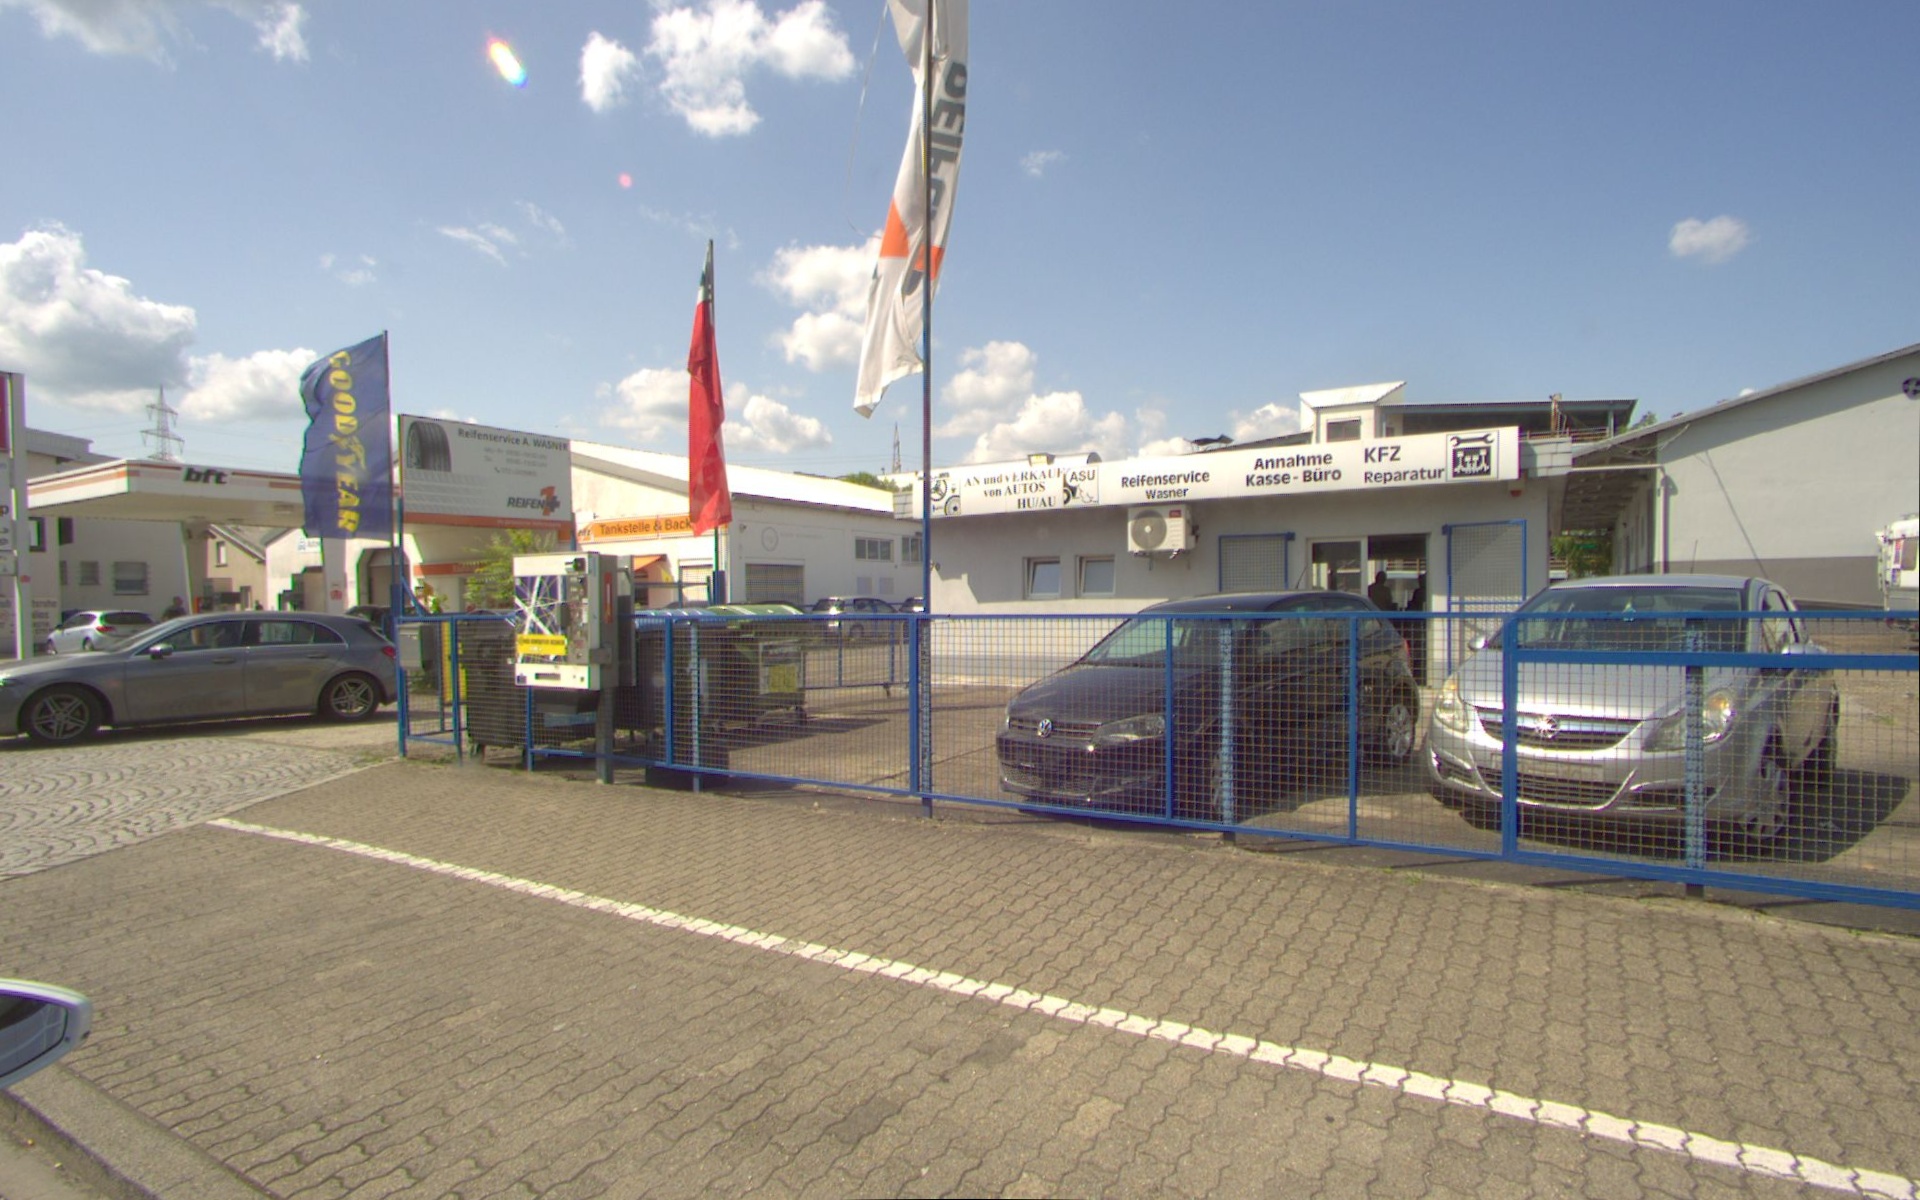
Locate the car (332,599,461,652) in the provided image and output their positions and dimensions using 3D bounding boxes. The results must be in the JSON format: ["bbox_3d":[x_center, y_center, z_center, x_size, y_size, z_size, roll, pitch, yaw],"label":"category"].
[{"bbox_3d":[-17.306,0.745,30.724,3.777,1.523,1.803,0,0,31],"label":"car"}]

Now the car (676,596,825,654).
[{"bbox_3d":[-5.715,0.640,27.820,1.564,1.482,4.187,0,0,33],"label":"car"}]

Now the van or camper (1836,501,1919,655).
[{"bbox_3d":[21.018,-0.455,19.529,5.571,3.005,2.264,0,1,31],"label":"van or camper"}]

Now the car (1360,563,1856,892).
[{"bbox_3d":[4.275,0.560,6.380,3.729,1.472,1.757,-1,0,-42],"label":"car"}]

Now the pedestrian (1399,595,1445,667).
[{"bbox_3d":[8.049,0.531,17.439,0.654,1.225,0.563,0,1,34],"label":"pedestrian"}]

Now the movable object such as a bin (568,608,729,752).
[{"bbox_3d":[-3.324,0.801,10.738,1.225,1.415,1.106,0,1,31],"label":"movable object such as a bin"}]

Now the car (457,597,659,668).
[{"bbox_3d":[-9.162,0.687,23.164,1.564,1.482,4.187,0,0,33],"label":"car"}]

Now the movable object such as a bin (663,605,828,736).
[{"bbox_3d":[-2.530,0.781,11.903,1.318,1.414,1.400,0,1,31],"label":"movable object such as a bin"}]

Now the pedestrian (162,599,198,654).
[{"bbox_3d":[-23.773,0.798,30.517,0.698,1.679,0.546,-1,1,-22],"label":"pedestrian"}]

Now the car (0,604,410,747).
[{"bbox_3d":[-9.279,0.796,12.185,1.657,1.434,4.246,0,0,44],"label":"car"}]

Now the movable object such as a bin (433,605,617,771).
[{"bbox_3d":[-4.156,0.785,9.608,1.225,1.455,1.106,0,1,31],"label":"movable object such as a bin"}]

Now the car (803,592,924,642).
[{"bbox_3d":[-3.012,0.508,32.050,1.564,1.482,4.187,0,0,33],"label":"car"}]

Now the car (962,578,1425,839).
[{"bbox_3d":[1.897,0.601,7.488,3.655,1.472,1.625,-1,0,-43],"label":"car"}]

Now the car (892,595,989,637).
[{"bbox_3d":[-0.636,0.532,35.736,1.564,1.385,3.860,0,0,33],"label":"car"}]

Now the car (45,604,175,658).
[{"bbox_3d":[-25.733,0.899,30.307,3.776,1.523,1.803,0,0,30],"label":"car"}]

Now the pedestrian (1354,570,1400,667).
[{"bbox_3d":[7.355,0.318,17.646,0.654,1.671,0.563,0,1,34],"label":"pedestrian"}]
